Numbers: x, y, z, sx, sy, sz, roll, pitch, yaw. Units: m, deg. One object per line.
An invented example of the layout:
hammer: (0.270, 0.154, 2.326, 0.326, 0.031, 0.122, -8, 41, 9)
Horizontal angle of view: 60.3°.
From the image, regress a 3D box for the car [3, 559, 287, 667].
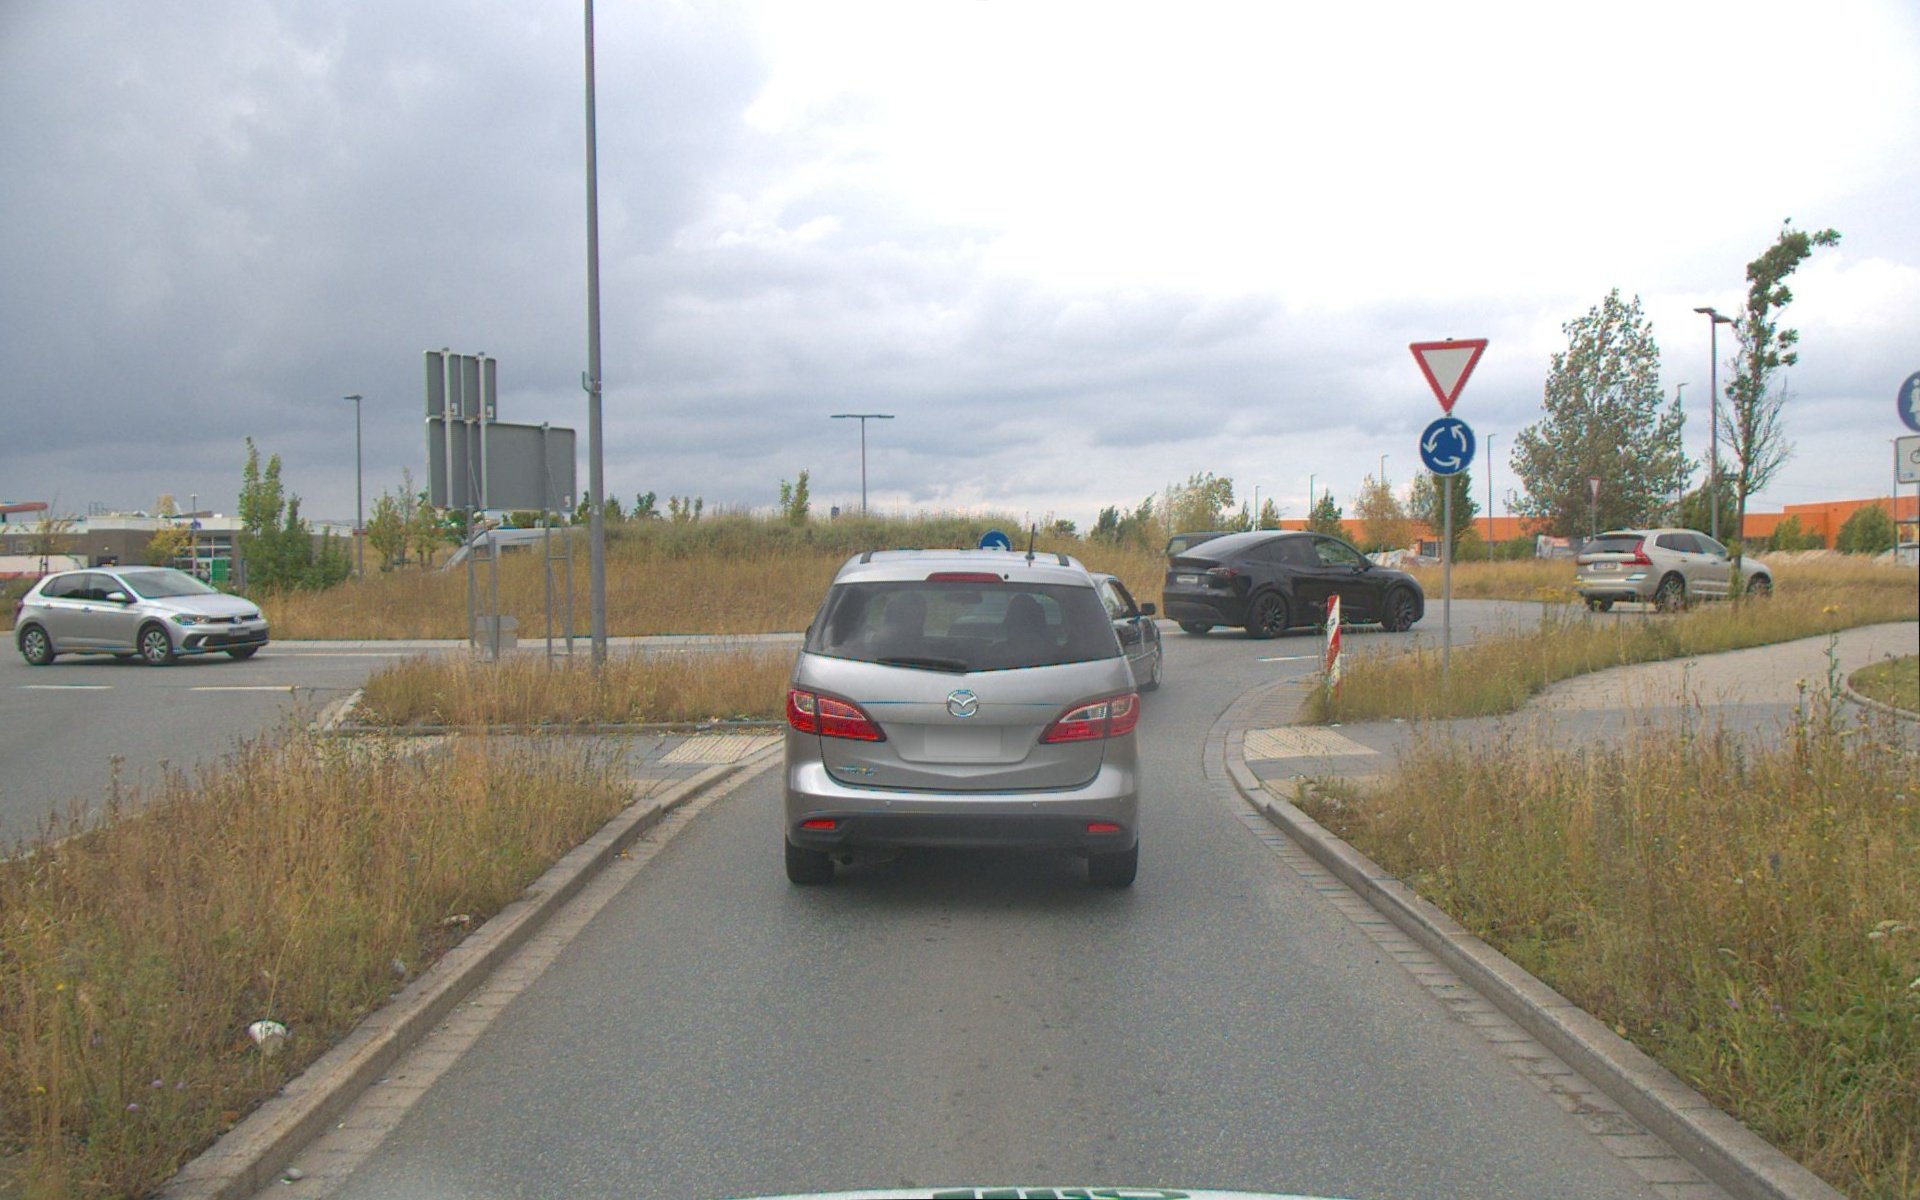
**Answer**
car: (-12.439, 0.203, 25.242, 3.908, 1.489, 1.813, -1, 2, 26)

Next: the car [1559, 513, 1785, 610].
car: (14.668, -0.832, 34.008, 4.712, 1.768, 1.924, -3, 3, -31)

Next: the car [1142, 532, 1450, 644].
car: (5.394, -0.254, 26.396, 4.706, 1.524, 1.927, -3, 3, -28)

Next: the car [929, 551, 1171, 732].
car: (1.024, 0.300, 16.498, 1.701, 1.427, 4.002, 1, 4, 14)

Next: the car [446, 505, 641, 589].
car: (-13.184, -1.636, 52.416, 5.625, 2.429, 2.261, 1, -1, -27)

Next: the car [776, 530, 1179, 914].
car: (0.066, 0.467, 9.087, 1.702, 1.626, 3.998, 1, 2, 0)

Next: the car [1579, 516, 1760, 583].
car: (19.381, -1.394, 45.348, 4.234, 1.676, 1.872, -1, 3, 11)
